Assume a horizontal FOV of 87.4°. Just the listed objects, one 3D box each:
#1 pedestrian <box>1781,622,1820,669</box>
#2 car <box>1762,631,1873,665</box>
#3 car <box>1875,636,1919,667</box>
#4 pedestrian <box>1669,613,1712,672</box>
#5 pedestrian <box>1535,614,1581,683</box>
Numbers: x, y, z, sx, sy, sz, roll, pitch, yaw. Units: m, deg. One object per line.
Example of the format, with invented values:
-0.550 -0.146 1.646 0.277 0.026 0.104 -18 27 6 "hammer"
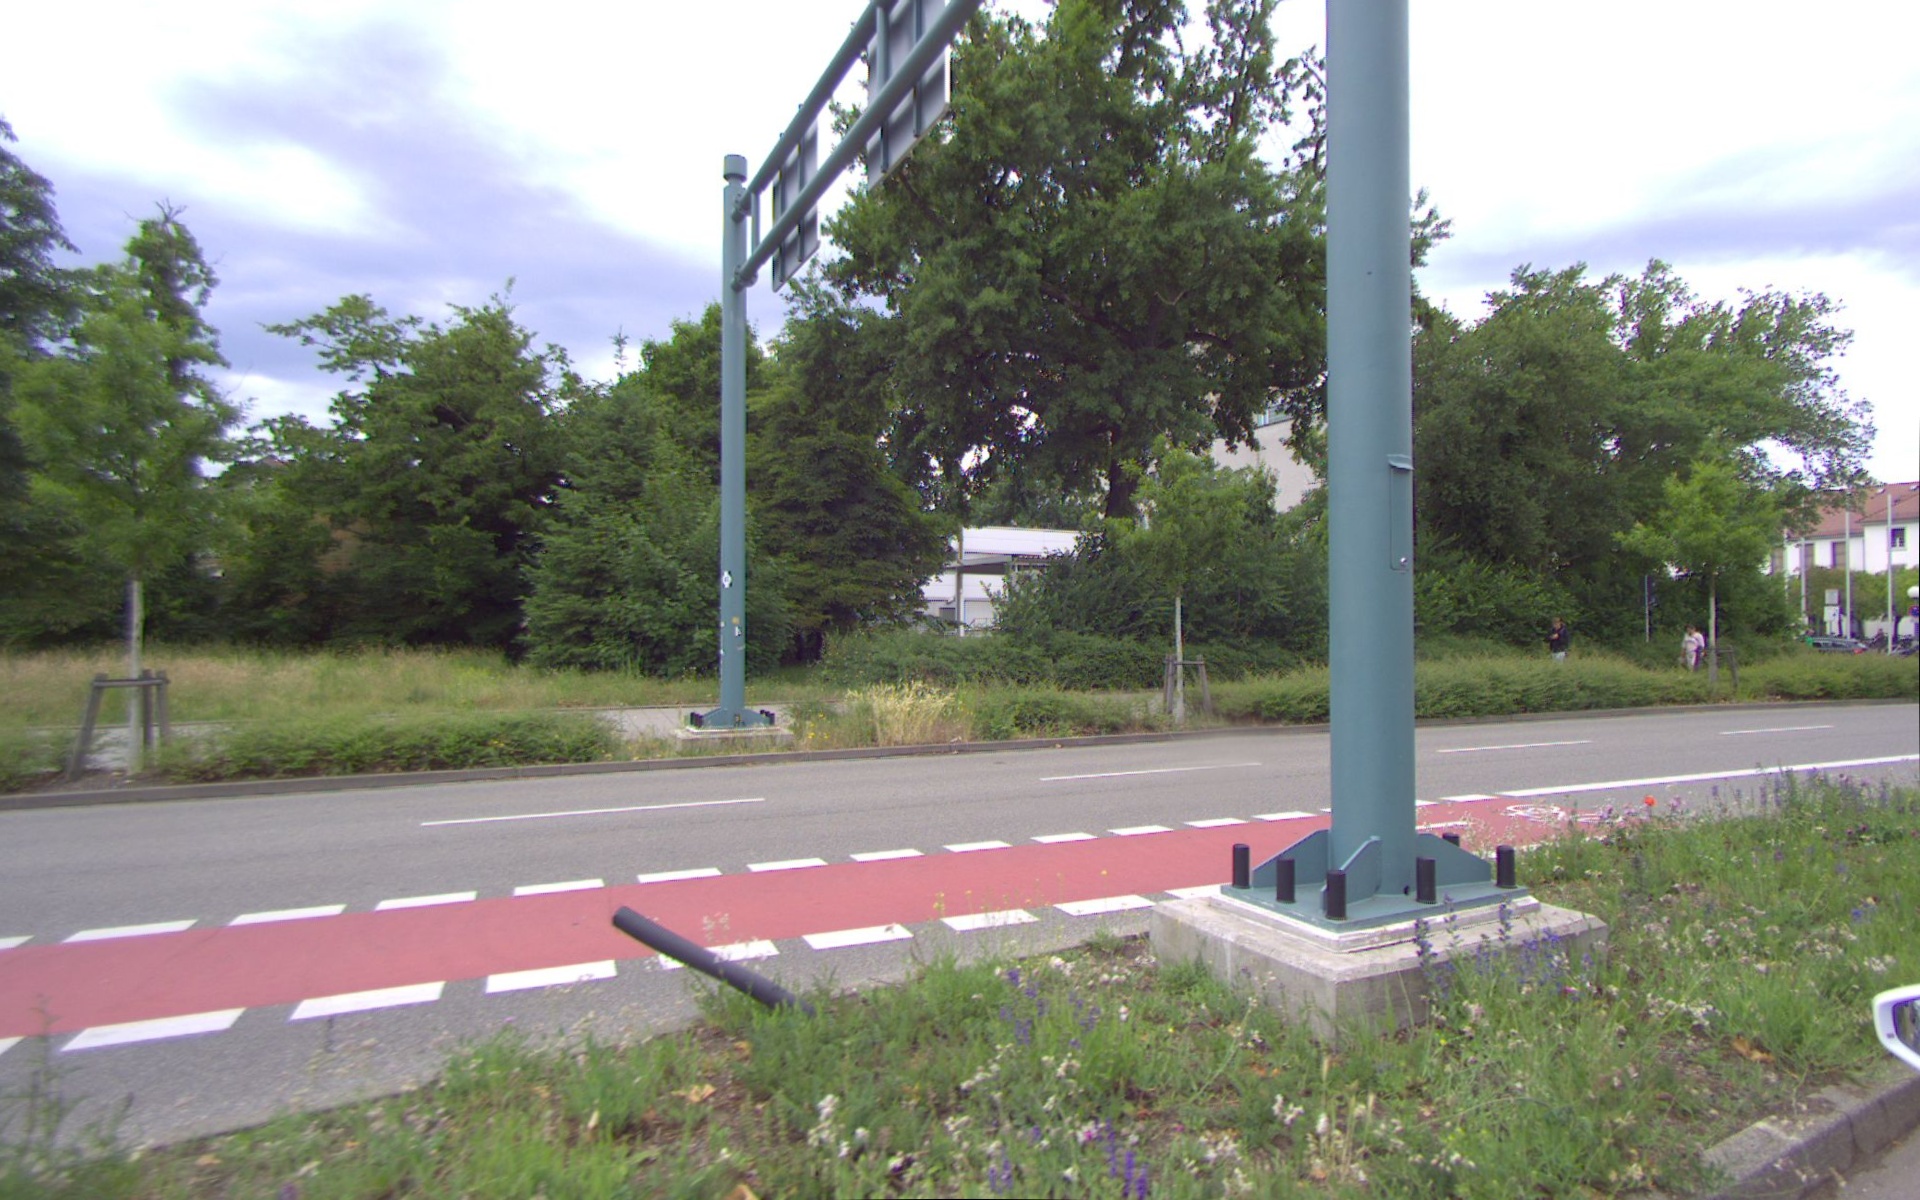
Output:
32.898 1.776 39.321 0.925 1.782 0.875 1 -1 23 "pedestrian"
42.809 2.381 50.212 1.609 1.472 4.017 -6 2 -40 "car"
45.254 2.406 46.728 1.544 1.240 3.640 -8 3 -28 "car"
20.841 1.205 28.674 0.662 1.657 0.698 0 -3 -23 "pedestrian"
15.350 1.237 25.784 0.806 1.752 0.619 0 -3 -23 "pedestrian"
